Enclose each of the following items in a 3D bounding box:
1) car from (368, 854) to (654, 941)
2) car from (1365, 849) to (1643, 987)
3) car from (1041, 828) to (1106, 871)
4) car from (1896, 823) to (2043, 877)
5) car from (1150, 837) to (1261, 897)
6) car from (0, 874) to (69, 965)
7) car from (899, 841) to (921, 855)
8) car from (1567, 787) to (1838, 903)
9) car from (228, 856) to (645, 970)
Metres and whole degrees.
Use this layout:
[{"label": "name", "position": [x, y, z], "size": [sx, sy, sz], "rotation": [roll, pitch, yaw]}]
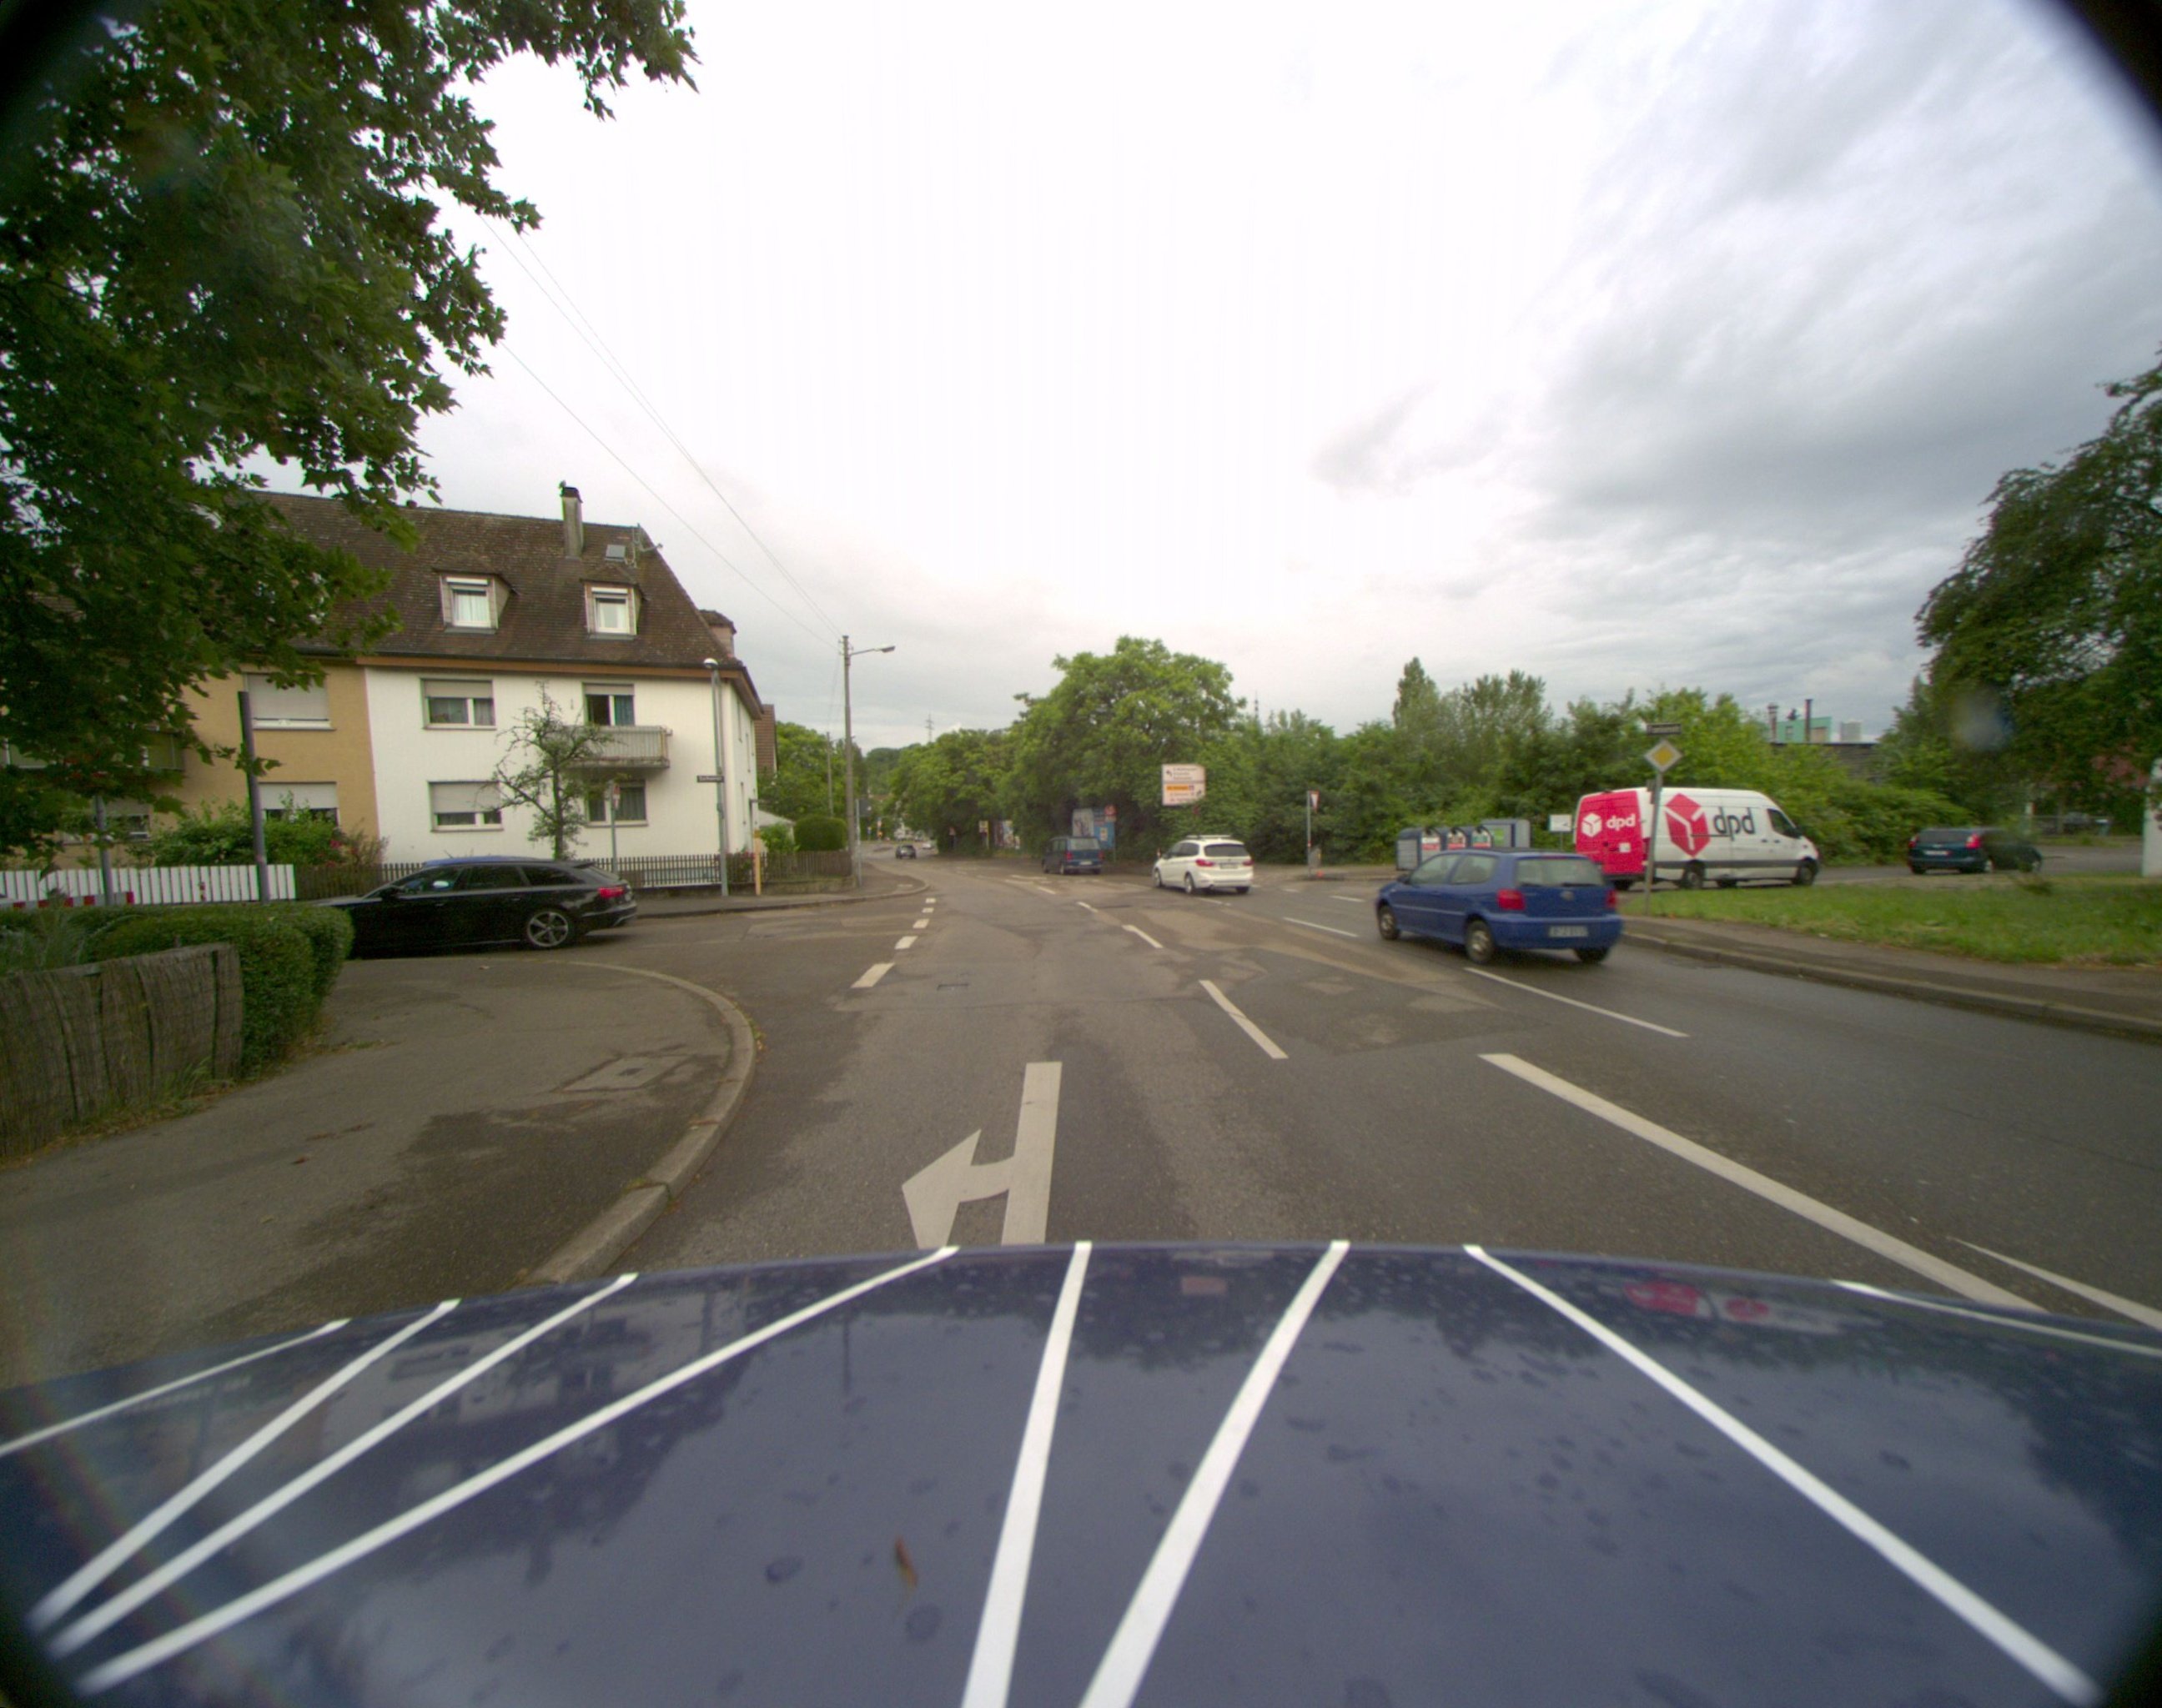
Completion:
[{"label": "car", "position": [-11.096, 0.775, 15.166], "size": [4.130, 1.472, 1.883], "rotation": [-1, 1, -17]}, {"label": "car", "position": [5.435, 0.704, 10.339], "size": [1.602, 1.418, 3.695], "rotation": [-2, 2, -2]}, {"label": "car", "position": [-0.445, -0.262, 37.249], "size": [1.965, 1.920, 4.676], "rotation": [-2, 1, -16]}, {"label": "car", "position": [30.185, -0.180, 25.827], "size": [4.257, 1.620, 1.996], "rotation": [-3, 2, -22]}, {"label": "car", "position": [3.641, 0.303, 23.119], "size": [1.838, 1.570, 4.328], "rotation": [-2, 2, -12]}, {"label": "car", "position": [-19.450, 1.131, 11.984], "size": [3.788, 1.445, 1.769], "rotation": [-2, 1, -19]}, {"label": "car", "position": [-18.820, -0.671, 83.477], "size": [1.903, 1.453, 3.992], "rotation": [-1, 1, -20]}, {"label": "car", "position": [16.198, -0.328, 19.804], "size": [6.829, 2.641, 2.259], "rotation": [-2, 2, -19]}, {"label": "car", "position": [-10.033, 0.825, 12.425], "size": [4.823, 1.472, 1.882], "rotation": [-1, 1, -24]}]
